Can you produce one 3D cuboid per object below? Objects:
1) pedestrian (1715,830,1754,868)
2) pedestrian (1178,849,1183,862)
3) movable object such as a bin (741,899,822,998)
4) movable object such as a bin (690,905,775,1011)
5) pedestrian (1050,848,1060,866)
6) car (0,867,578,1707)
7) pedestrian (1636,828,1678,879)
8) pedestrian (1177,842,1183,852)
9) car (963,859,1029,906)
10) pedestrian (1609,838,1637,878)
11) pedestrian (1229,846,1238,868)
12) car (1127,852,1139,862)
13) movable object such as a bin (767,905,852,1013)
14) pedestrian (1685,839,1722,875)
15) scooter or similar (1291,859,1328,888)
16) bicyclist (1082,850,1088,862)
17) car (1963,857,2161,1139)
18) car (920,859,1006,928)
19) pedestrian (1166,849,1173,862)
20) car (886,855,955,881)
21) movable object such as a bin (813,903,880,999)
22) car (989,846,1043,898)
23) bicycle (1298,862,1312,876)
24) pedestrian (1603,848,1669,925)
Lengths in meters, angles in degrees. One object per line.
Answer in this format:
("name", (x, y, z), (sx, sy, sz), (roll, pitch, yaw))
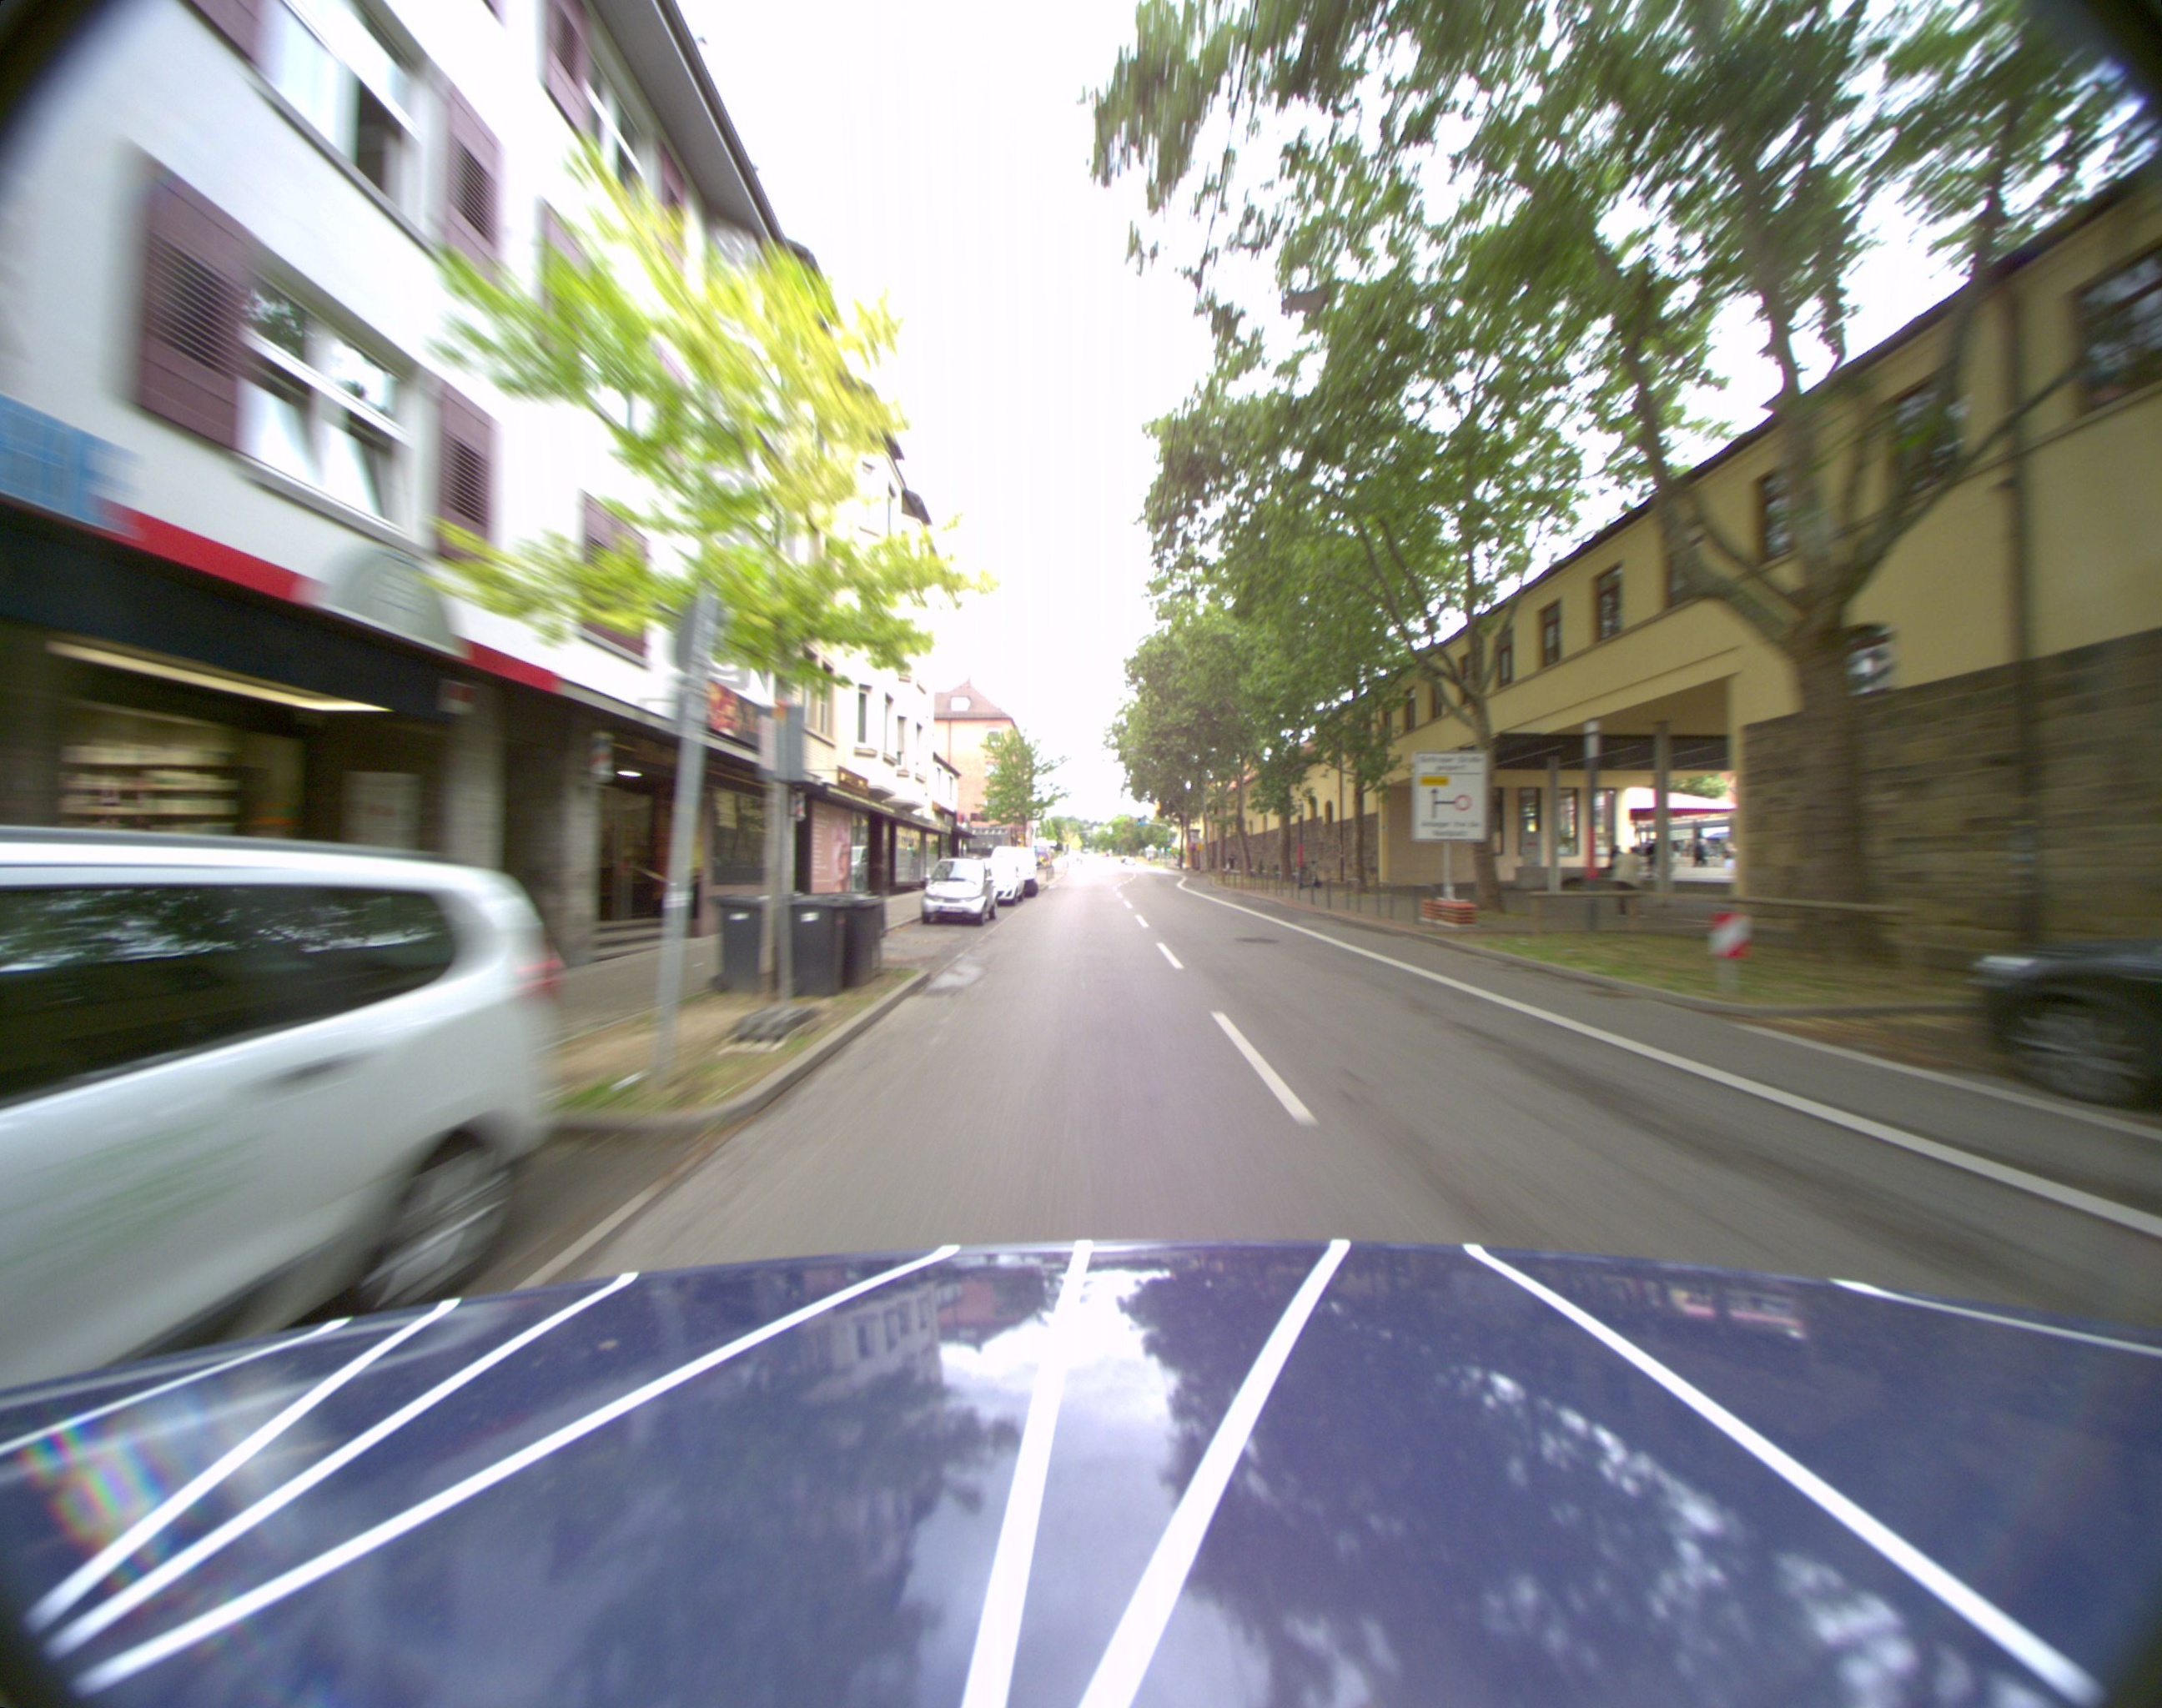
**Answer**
("pedestrian", (27.181, -0.207, 31.612), (0.811, 1.513, 0.964), (-2, 1, 1))
("pedestrian", (13.271, 0.216, 101.153), (0.625, 1.653, 0.549), (-2, 1, 3))
("movable object such as a bin", (-3.468, 1.076, 8.844), (0.696, 1.067, 0.624), (-1, 1, -1))
("movable object such as a bin", (-3.636, 1.070, 7.957), (0.578, 1.018, 0.624), (0, 1, 1))
("pedestrian", (-2.867, 0.302, 83.478), (0.785, 2.002, 0.859), (0, 1, 22))
("car", (-3.009, 0.915, 1.069), (1.683, 1.653, 4.543), (2, 0, -2))
("pedestrian", (20.731, -0.009, 27.372), (0.810, 1.780, 0.905), (-2, 0, 6))
("pedestrian", (20.638, -1.449, 157.999), (1.043, 1.979, 1.097), (-2, 1, 3))
("car", (-2.785, 0.896, 25.606), (1.687, 1.407, 4.042), (1, 0, 1))
("pedestrian", (20.891, 0.143, 29.297), (0.575, 1.480, 0.760), (-2, 2, 3))
("pedestrian", (13.160, 0.261, 65.487), (0.673, 1.865, 0.816), (0, 1, 2))
("car", (9.723, 0.550, 140.882), (1.919, 1.640, 3.635), (-2, 1, 8))
("movable object such as a bin", (-2.794, 1.065, 7.874), (0.623, 1.018, 0.696), (-1, 1, -2))
("pedestrian", (26.958, 0.120, 32.913), (0.811, 1.513, 0.964), (-2, 0, 1))
("scooter or similar", (10.234, 0.878, 34.003), (1.622, 1.233, 0.446), (-2, 1, -21))
("bicyclist", (0.535, 0.269, 101.600), (0.681, 1.619, 0.751), (-2, 1, 8))
("car", (7.530, 0.907, 3.608), (1.735, 1.679, 4.252), (-2, 1, 0))
("car", (-2.840, 0.907, 18.907), (1.485, 1.525, 3.522), (1, 0, 1))
("pedestrian", (11.934, 0.223, 102.347), (0.854, 1.677, 0.932), (-2, 1, 3))
("car", (-9.986, 0.890, 47.305), (3.875, 1.443, 1.706), (-2, 1, 26))
("movable object such as a bin", (-2.706, 1.104, 8.837), (0.624, 1.018, 0.696), (0, 0, -7))
("car", (-2.567, 0.656, 30.963), (1.911, 1.919, 4.919), (1, 0, -2))
("bicycle", (13.452, 0.898, 45.682), (0.336, 0.841, 1.776), (0, 0, 1))
("pedestrian", (12.609, 0.718, 17.279), (0.863, 1.678, 0.927), (-2, 1, 10))
